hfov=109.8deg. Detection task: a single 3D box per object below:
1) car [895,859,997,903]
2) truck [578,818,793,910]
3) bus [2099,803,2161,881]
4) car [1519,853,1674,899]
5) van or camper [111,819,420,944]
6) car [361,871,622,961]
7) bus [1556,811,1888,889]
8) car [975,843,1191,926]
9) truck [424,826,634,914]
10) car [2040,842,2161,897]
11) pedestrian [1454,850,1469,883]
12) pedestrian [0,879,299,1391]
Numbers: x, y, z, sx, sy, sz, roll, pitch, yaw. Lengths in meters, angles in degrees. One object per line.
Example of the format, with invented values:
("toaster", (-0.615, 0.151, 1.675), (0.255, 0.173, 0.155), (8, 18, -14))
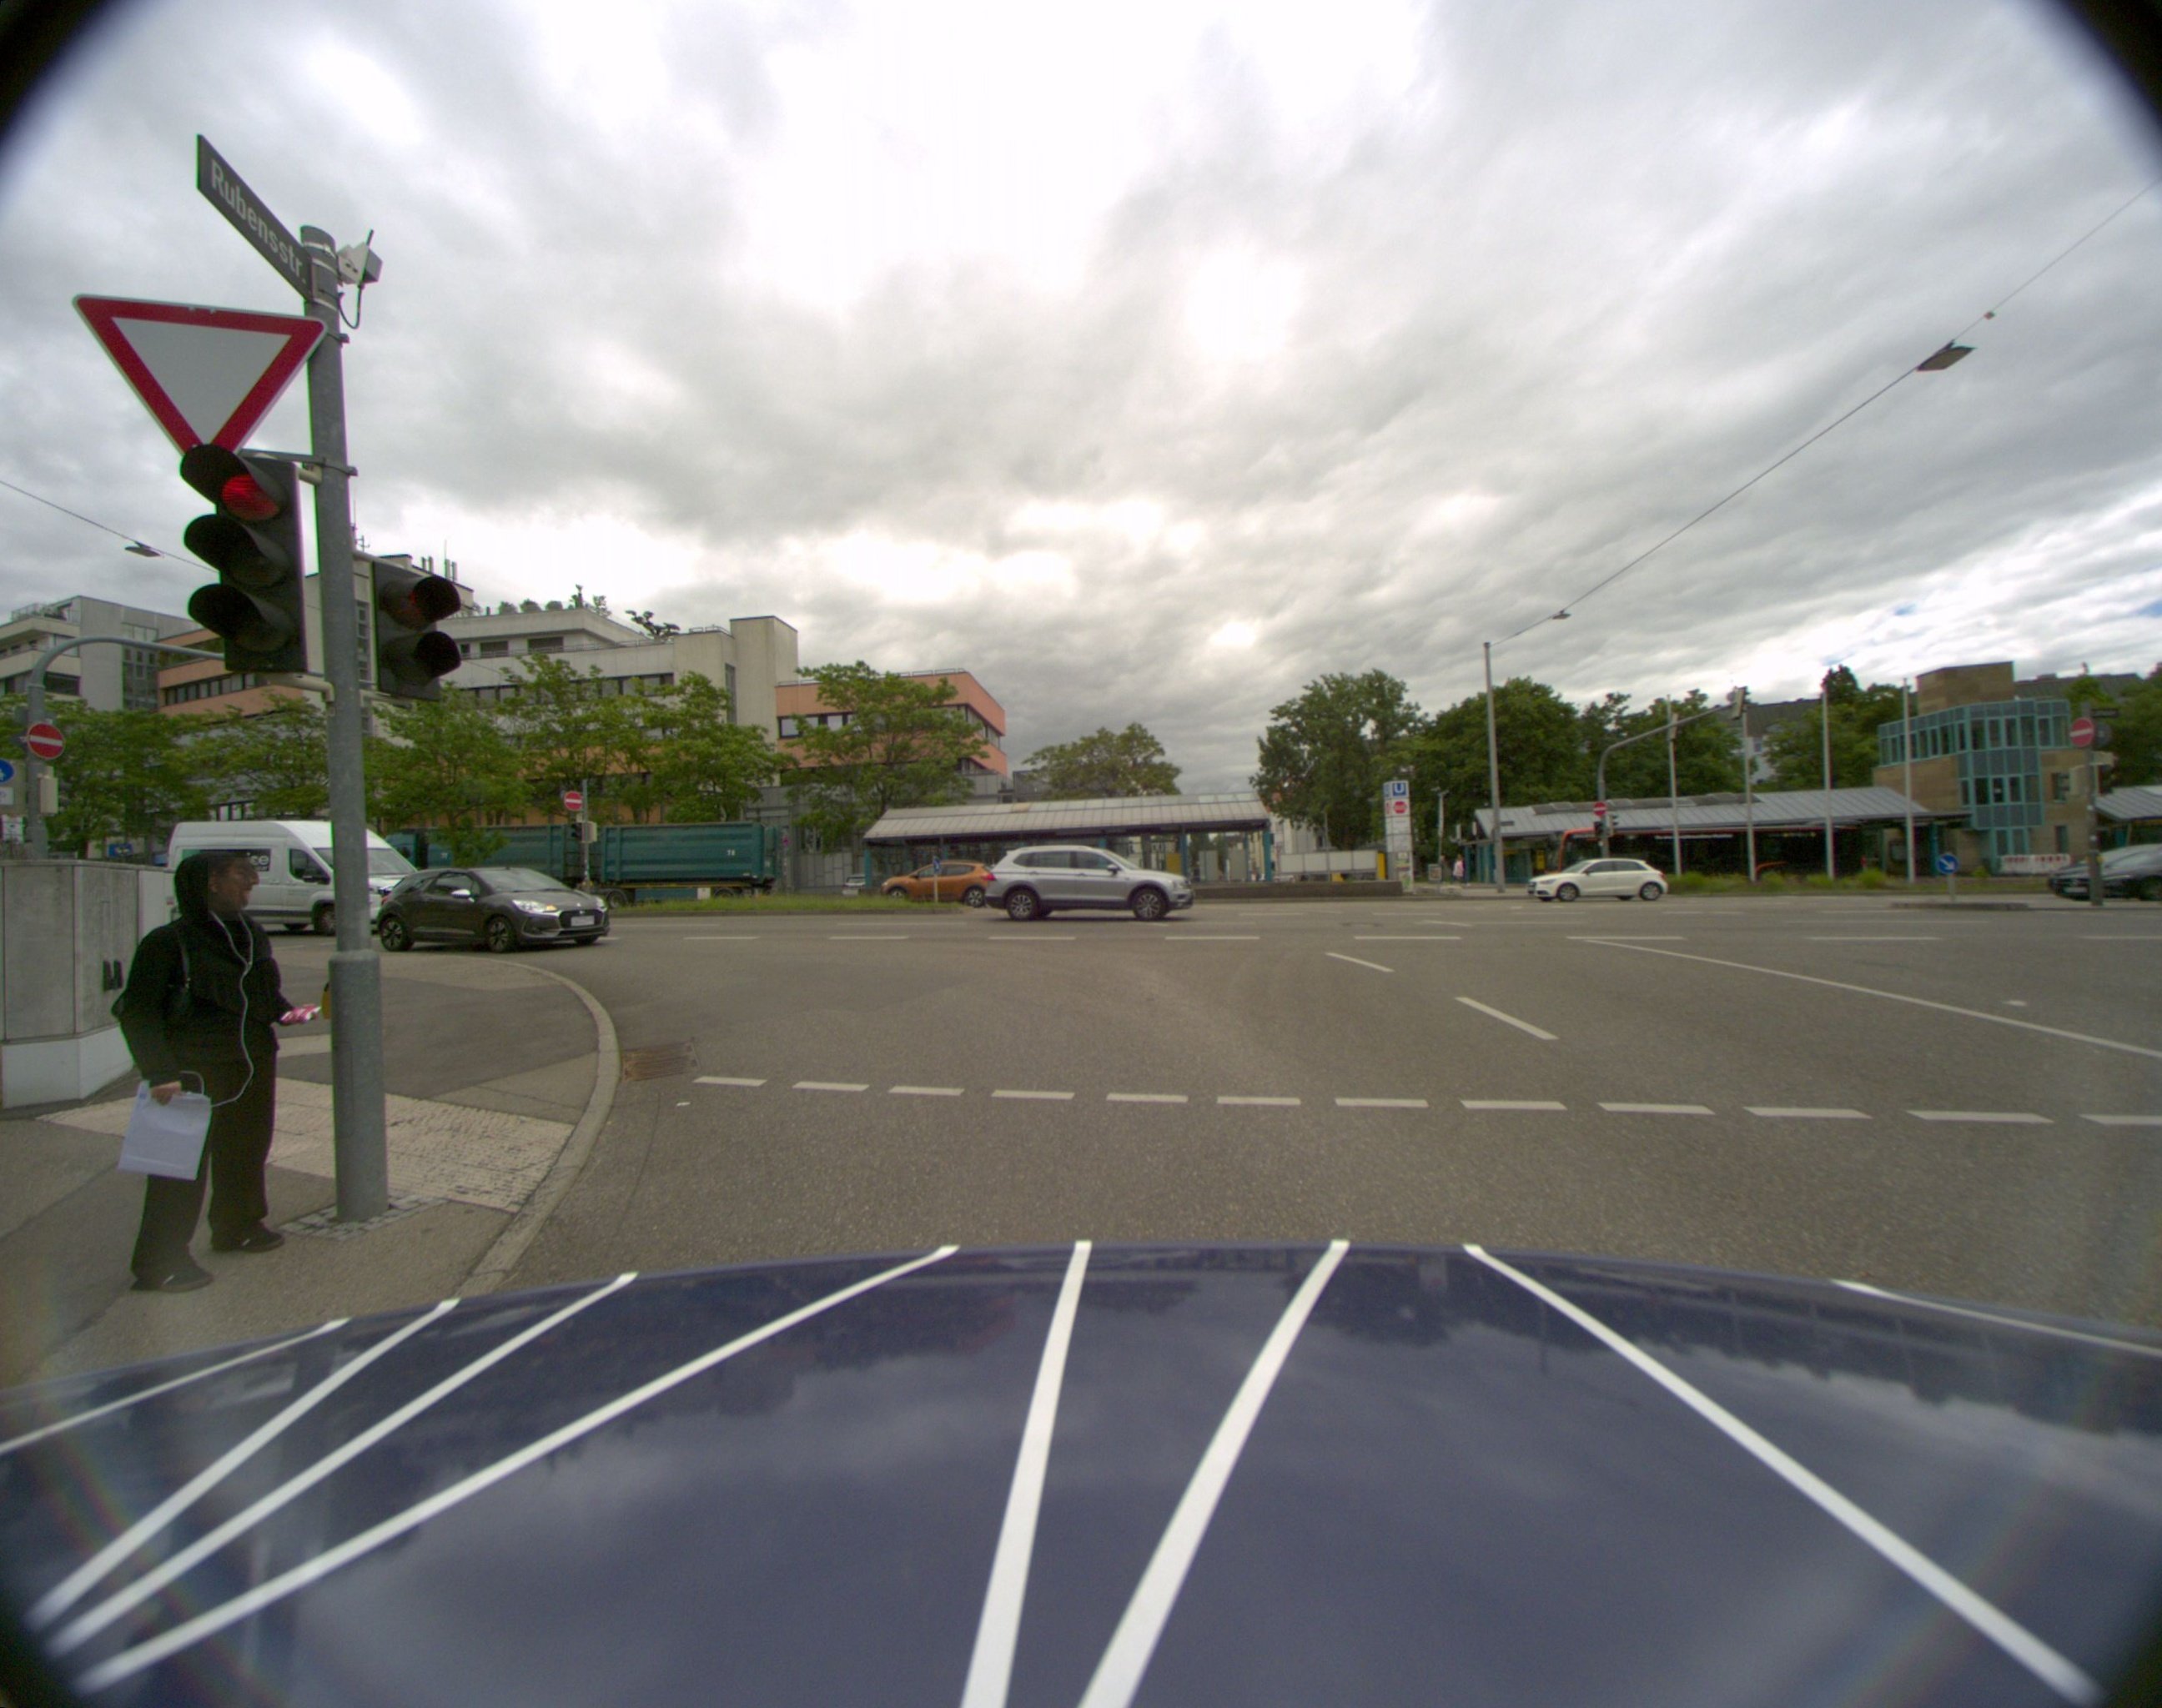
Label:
("car", (-4.394, 0.858, 24.855), (2.993, 1.305, 1.211), (1, 1, 10))
("truck", (-17.209, 0.431, 33.267), (8.168, 3.562, 2.722), (-2, 1, 9))
("bus", (52.354, -0.603, 33.307), (9.233, 3.463, 3.225), (-1, 0, 15))
("car", (17.018, 0.729, 25.239), (3.929, 1.372, 1.632), (-2, 0, 10))
("van or camper", (-19.834, 0.601, 18.582), (5.929, 2.657, 2.260), (2, 0, 10))
("car", (-10.316, 1.039, 13.359), (3.774, 1.390, 1.649), (-1, 0, 15))
("bus", (28.849, -0.082, 34.836), (11.836, 3.044, 2.003), (-2, -1, 14))
("car", (0.113, 0.678, 17.280), (4.504, 1.660, 2.002), (-2, 0, 13))
("truck", (-24.911, 0.695, 34.436), (7.935, 3.562, 2.722), (-2, 1, 9))
("car", (28.188, 0.368, 19.763), (3.911, 1.303, 1.669), (-2, 0, 10))
("pedestrian", (23.457, 0.762, 46.848), (0.731, 2.002, 0.853), (1, 1, 21))
("pedestrian", (-3.465, 0.897, 2.750), (0.552, 1.582, 0.673), (1, 1, 9))
